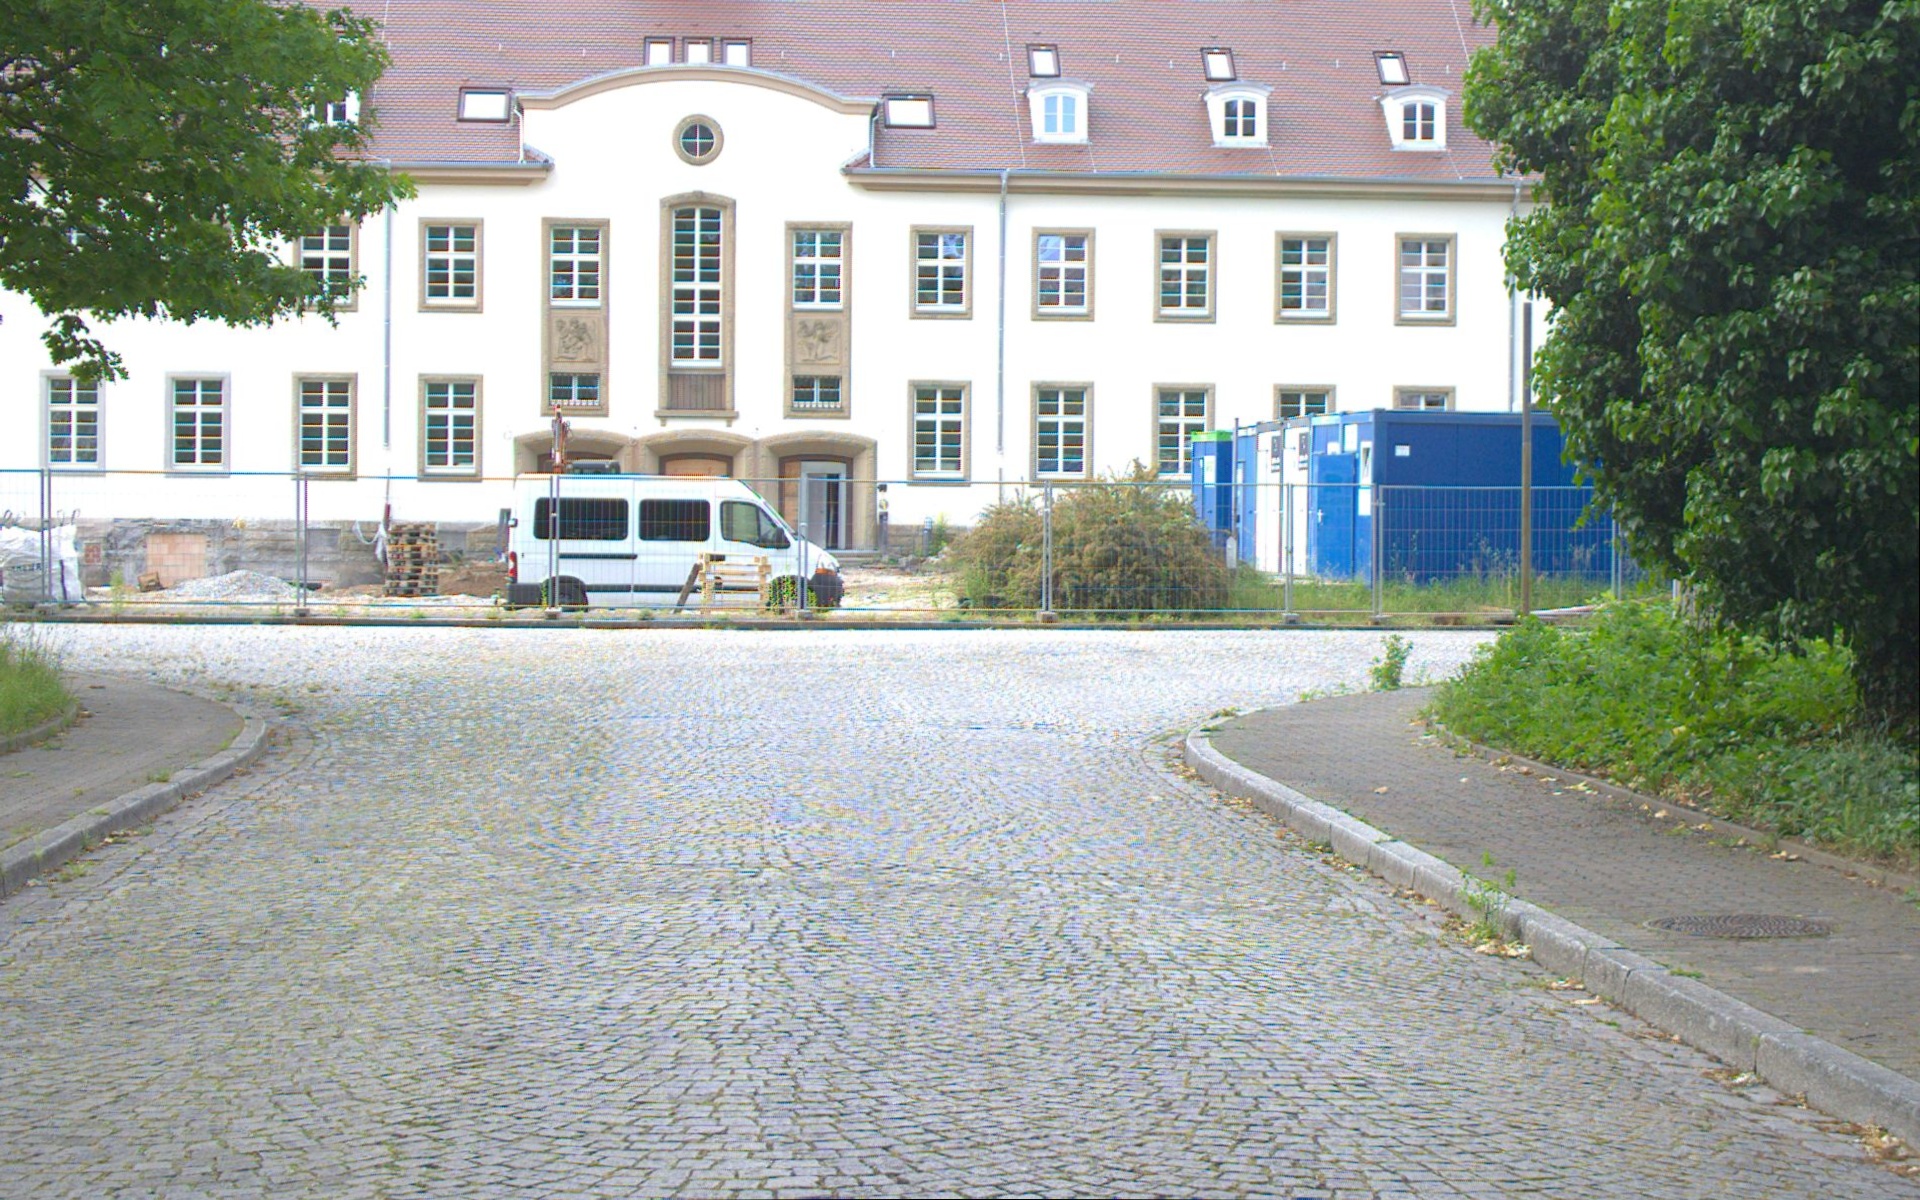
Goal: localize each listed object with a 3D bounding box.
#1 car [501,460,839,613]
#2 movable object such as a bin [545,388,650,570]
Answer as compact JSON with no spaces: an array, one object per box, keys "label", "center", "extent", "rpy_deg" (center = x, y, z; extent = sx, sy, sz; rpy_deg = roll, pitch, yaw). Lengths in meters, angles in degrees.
[{"label":"car","center":[-4.600,-1.016,54.854],"extent":[5.262,2.336,1.910],"rpy_deg":[1,1,-3]},{"label":"movable object such as a bin","center":[-7.870,-2.587,74.334],"extent":[1.993,3.758,5.319],"rpy_deg":[1,1,-8]}]
